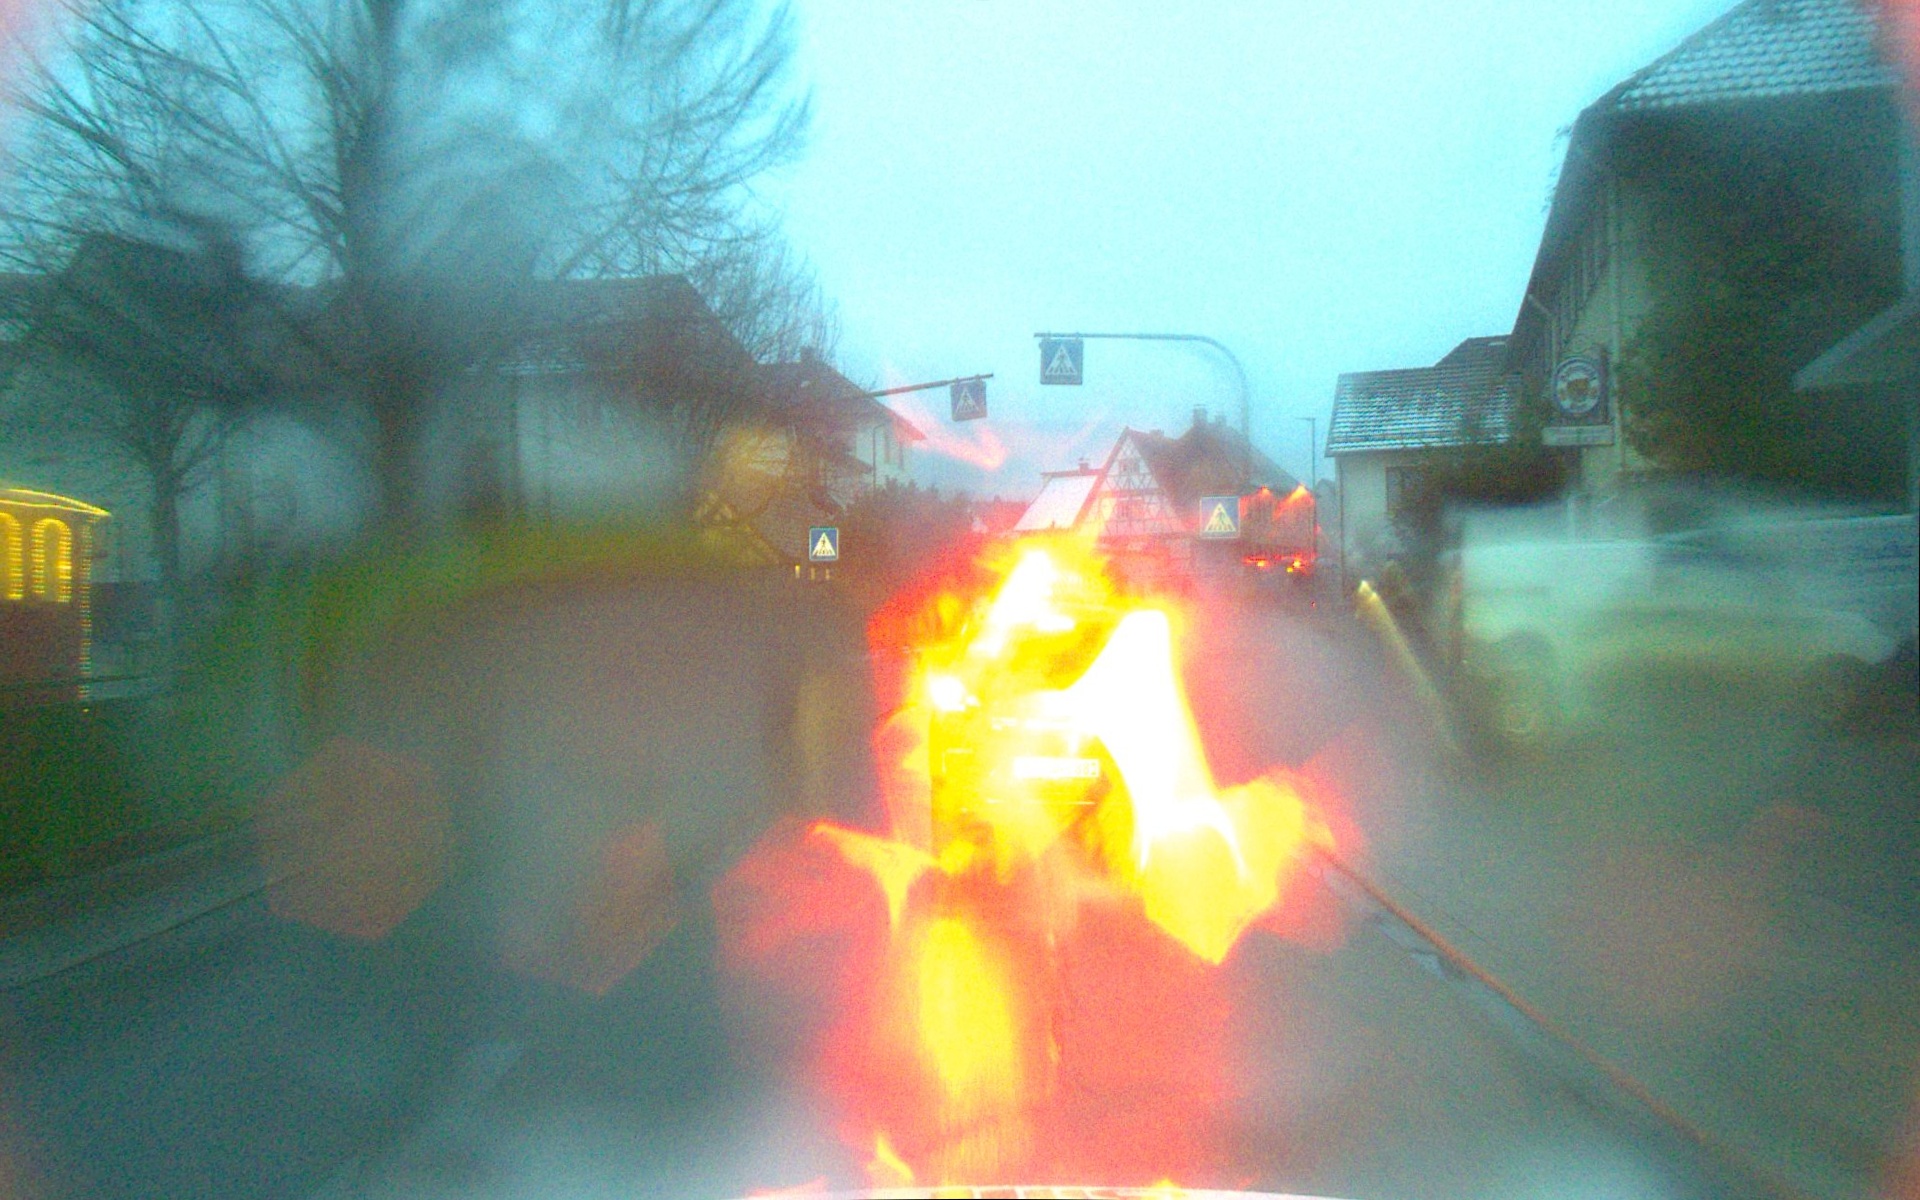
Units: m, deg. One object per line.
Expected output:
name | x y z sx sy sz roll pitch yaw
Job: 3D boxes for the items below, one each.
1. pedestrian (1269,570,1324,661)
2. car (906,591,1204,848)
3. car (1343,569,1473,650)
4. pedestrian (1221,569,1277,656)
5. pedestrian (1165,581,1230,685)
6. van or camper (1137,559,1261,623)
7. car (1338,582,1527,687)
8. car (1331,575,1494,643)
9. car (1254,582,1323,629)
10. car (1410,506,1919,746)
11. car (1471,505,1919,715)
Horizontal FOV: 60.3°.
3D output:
pedestrian | 6.783 0.302 33.333 0.831 1.763 0.972 -4 -1 21
car | 0.584 0.697 11.792 1.758 1.502 4.000 0 0 1
car | 9.447 0.183 35.042 2.528 1.574 1.553 -2 0 13
pedestrian | 5.906 0.239 33.724 0.849 1.696 0.992 -4 -1 21
pedestrian | 4.247 0.577 29.524 0.861 1.765 0.956 -4 -1 21
van or camper | 12.794 -0.466 88.610 5.945 3.006 2.403 -4 -2 29
car | 7.314 0.528 25.810 2.704 1.500 1.428 -2 0 13
car | 11.329 0.226 41.510 3.817 1.500 1.752 -3 0 16
car | 12.118 0.171 60.868 1.809 1.665 4.336 0 0 21
car | 6.325 0.249 15.181 3.956 1.875 1.865 -3 -1 8
car | 8.100 0.097 17.570 4.874 1.922 1.939 -3 0 13
